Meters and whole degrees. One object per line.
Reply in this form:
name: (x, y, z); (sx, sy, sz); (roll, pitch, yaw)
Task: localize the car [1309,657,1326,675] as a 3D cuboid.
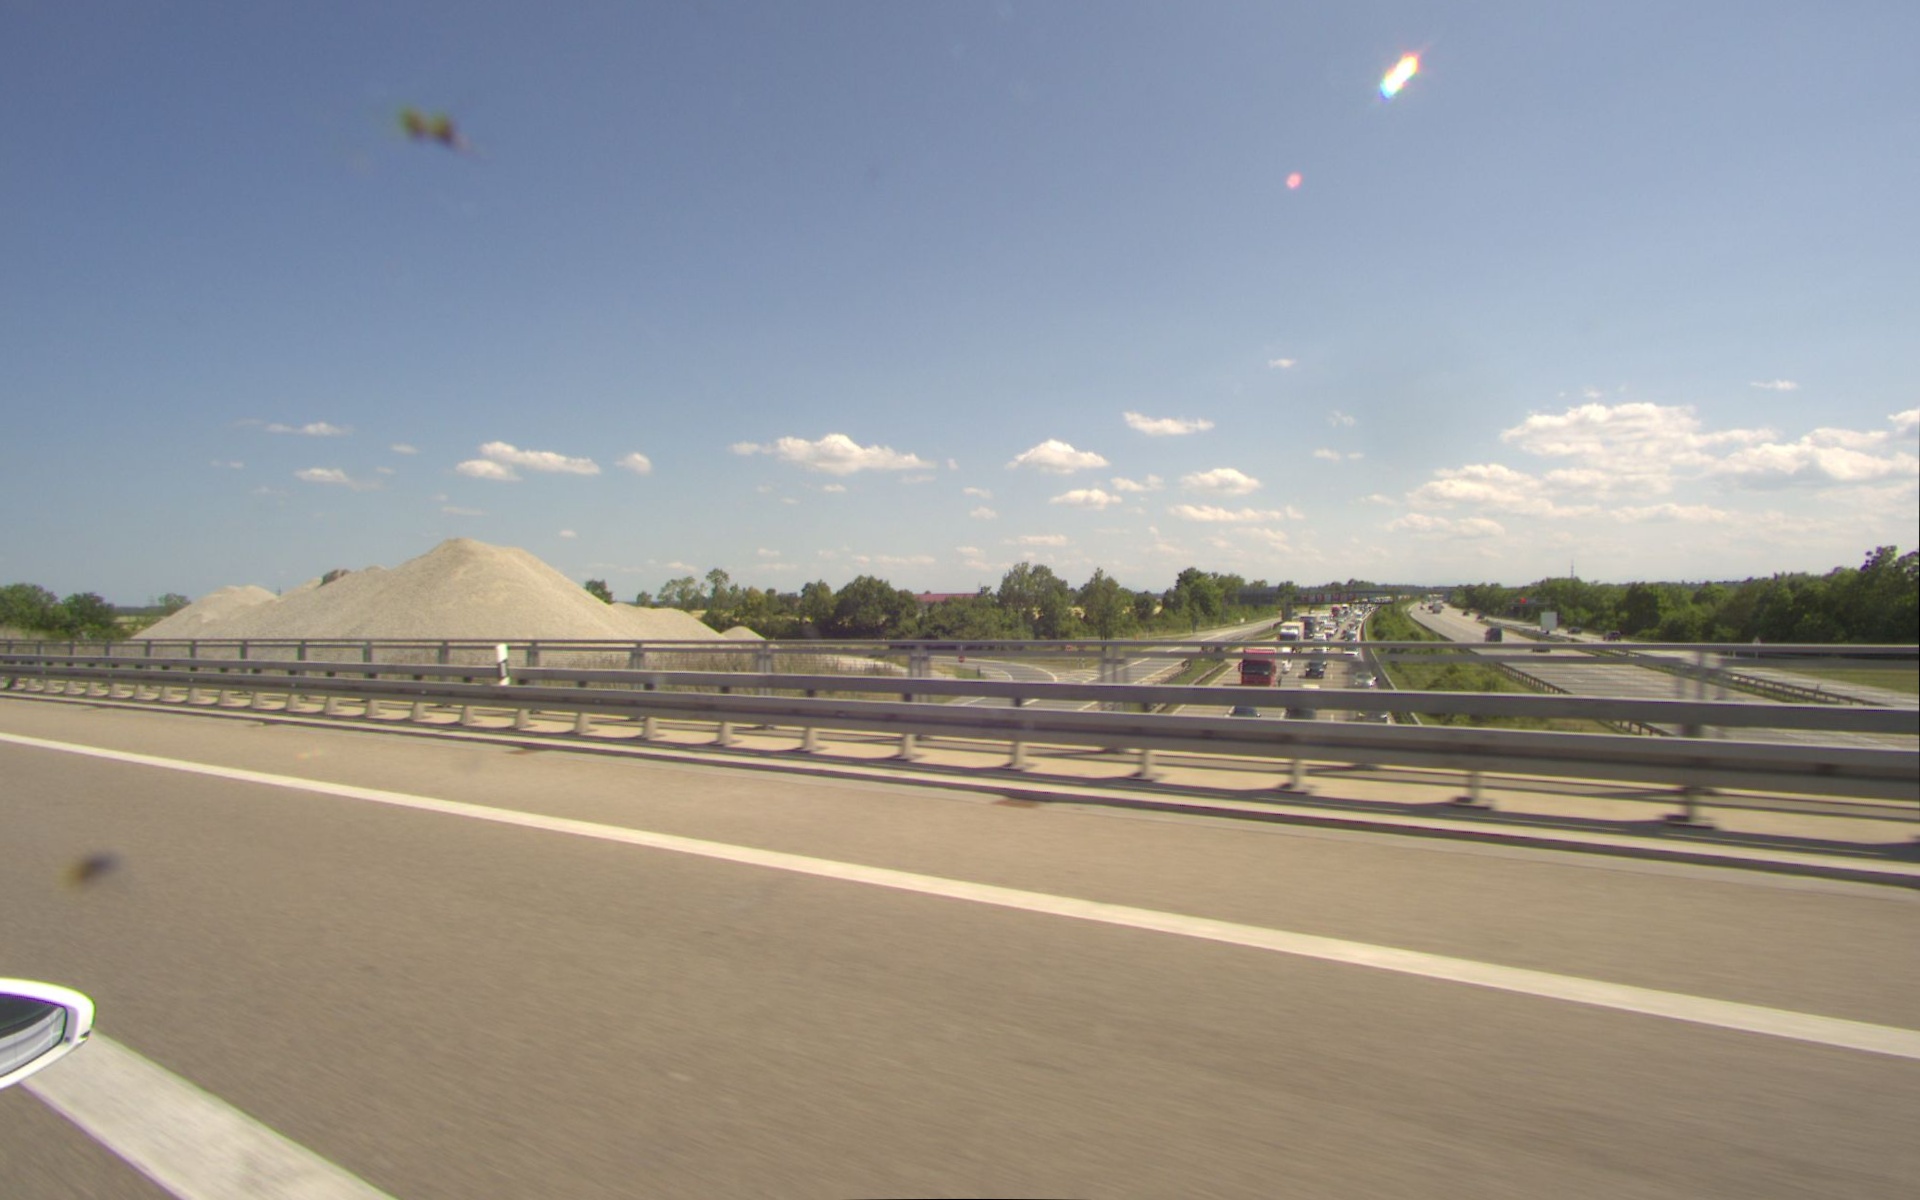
car: (41.276, 7.604, 115.752); (1.829, 1.757, 4.338); (0, -1, 19)

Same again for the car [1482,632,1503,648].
car: (86.257, 6.414, 162.225); (2.101, 2.479, 5.041); (0, -1, 19)

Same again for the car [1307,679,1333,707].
car: (27.339, 7.051, 76.097); (1.829, 1.757, 4.338); (0, -1, 19)

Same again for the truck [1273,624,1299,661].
truck: (44.909, 5.784, 137.851); (3.096, 4.836, 8.228); (0, -1, 19)

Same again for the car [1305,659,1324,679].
car: (36.246, 7.020, 102.425); (1.829, 1.757, 4.338); (0, -1, 19)

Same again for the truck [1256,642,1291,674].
truck: (34.854, 6.337, 111.041); (3.097, 3.099, 10.026); (0, -1, 21)

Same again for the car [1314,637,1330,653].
car: (49.929, 6.221, 138.163); (1.965, 2.040, 4.688); (0, -1, 19)

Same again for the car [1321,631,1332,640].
car: (71.226, 6.807, 194.577); (1.965, 1.631, 4.688); (0, -1, 19)

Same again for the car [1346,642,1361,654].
car: (59.482, 7.244, 151.356); (1.829, 1.757, 4.338); (0, -1, 19)

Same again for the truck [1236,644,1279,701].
truck: (24.242, 5.795, 81.348); (2.820, 4.119, 5.941); (0, 1, 22)

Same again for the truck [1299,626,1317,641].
truck: (64.606, 6.231, 185.982); (3.096, 2.563, 6.650); (0, -1, 19)

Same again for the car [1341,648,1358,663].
car: (49.497, 7.058, 127.290); (1.829, 1.757, 4.338); (0, -1, 19)

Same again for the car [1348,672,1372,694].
car: (36.738, 7.629, 92.126); (1.829, 1.757, 4.338); (0, -1, 19)

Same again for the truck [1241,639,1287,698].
truck: (26.676, 5.816, 87.428); (2.820, 4.119, 12.544); (0, 1, 21)
